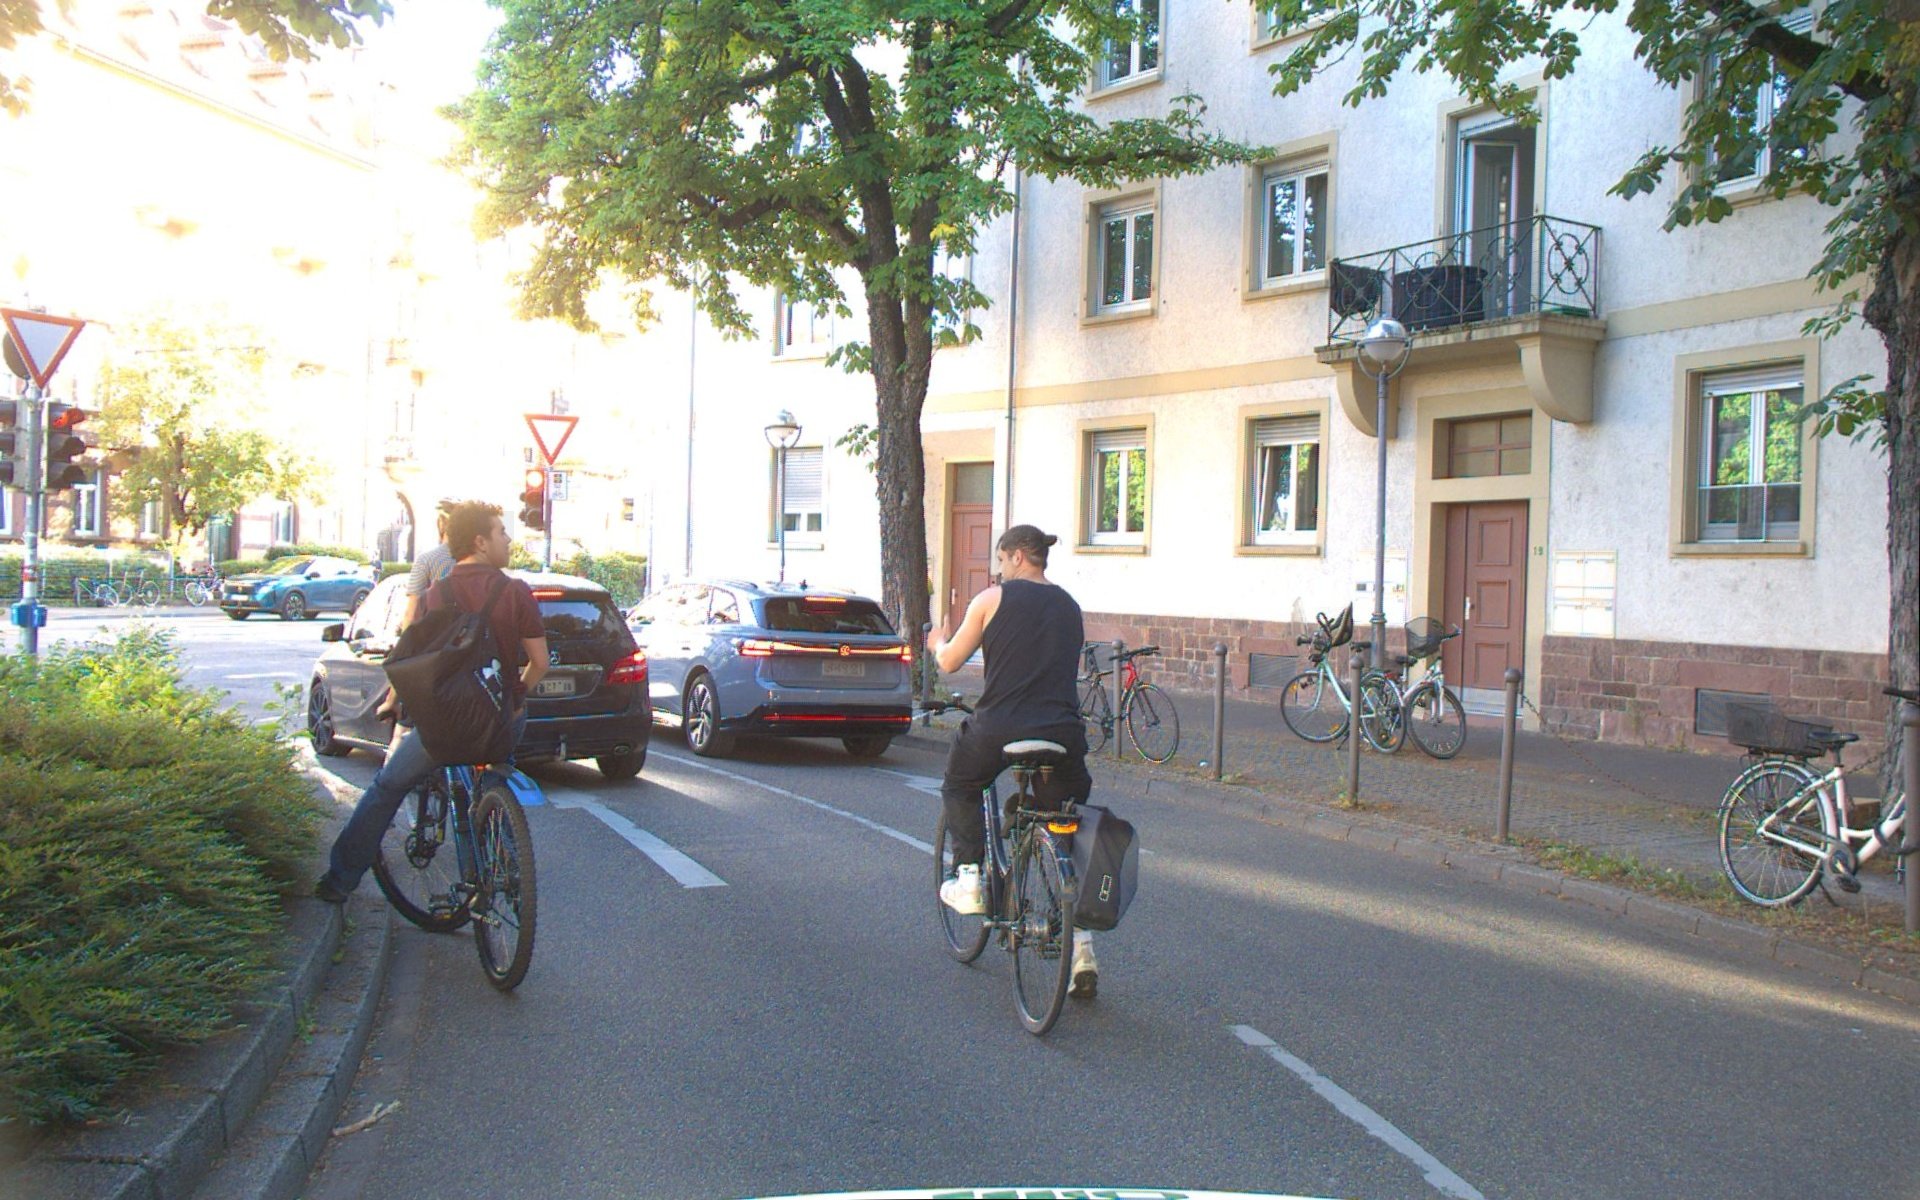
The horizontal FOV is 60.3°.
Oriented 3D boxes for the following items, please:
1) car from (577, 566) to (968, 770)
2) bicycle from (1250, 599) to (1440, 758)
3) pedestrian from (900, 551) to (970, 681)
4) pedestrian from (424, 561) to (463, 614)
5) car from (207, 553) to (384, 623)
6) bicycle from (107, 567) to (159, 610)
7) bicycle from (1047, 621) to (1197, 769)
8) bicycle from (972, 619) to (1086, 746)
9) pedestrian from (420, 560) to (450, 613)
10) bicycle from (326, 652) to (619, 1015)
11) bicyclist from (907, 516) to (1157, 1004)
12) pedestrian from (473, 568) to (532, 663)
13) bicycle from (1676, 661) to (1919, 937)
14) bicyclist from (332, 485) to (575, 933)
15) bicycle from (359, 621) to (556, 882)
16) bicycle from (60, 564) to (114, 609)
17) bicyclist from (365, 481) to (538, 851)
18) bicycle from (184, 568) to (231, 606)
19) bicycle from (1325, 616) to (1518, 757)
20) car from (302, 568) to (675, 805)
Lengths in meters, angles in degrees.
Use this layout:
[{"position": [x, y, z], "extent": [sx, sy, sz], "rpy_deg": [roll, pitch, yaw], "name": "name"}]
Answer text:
[{"position": [-1.946, 0.560, 15.748], "extent": [1.951, 1.613, 4.427], "rpy_deg": [4, -1, -32], "name": "car"}, {"position": [3.426, 0.656, 14.923], "extent": [0.707, 1.299, 1.955], "rpy_deg": [0, 1, -21], "name": "bicycle"}, {"position": [-0.356, 0.202, 22.908], "extent": [0.635, 1.757, 0.880], "rpy_deg": [-1, 2, -27], "name": "pedestrian"}, {"position": [-16.991, -0.404, 54.434], "extent": [0.698, 1.693, 0.895], "rpy_deg": [5, 2, 33], "name": "pedestrian"}, {"position": [-17.141, -0.309, 42.911], "extent": [1.901, 1.678, 4.413], "rpy_deg": [2, 0, 17], "name": "car"}, {"position": [-22.355, -0.310, 44.730], "extent": [0.433, 1.126, 1.233], "rpy_deg": [3, 1, 22], "name": "bicycle"}, {"position": [1.379, 0.792, 14.419], "extent": [0.519, 1.126, 1.728], "rpy_deg": [-1, 2, -24], "name": "bicycle"}, {"position": [0.644, 0.767, 15.996], "extent": [0.474, 1.082, 1.625], "rpy_deg": [-1, 2, -22], "name": "bicycle"}, {"position": [-17.555, -0.441, 55.277], "extent": [0.649, 1.745, 0.635], "rpy_deg": [2, 0, 29], "name": "pedestrian"}, {"position": [-2.013, 0.826, 6.629], "extent": [0.709, 1.126, 1.948], "rpy_deg": [2, 0, -29], "name": "bicycle"}, {"position": [0.243, 0.546, 6.274], "extent": [0.675, 1.685, 0.985], "rpy_deg": [0, 1, -15], "name": "bicyclist"}, {"position": [-8.435, 0.283, 30.480], "extent": [0.889, 1.663, 0.721], "rpy_deg": [3, 1, -21], "name": "pedestrian"}, {"position": [4.235, 0.891, 7.637], "extent": [0.505, 1.114, 1.962], "rpy_deg": [0, 1, -20], "name": "bicycle"}, {"position": [-2.004, 0.388, 6.488], "extent": [0.699, 1.601, 0.948], "rpy_deg": [2, 0, -29], "name": "bicyclist"}, {"position": [-2.863, 0.761, 9.256], "extent": [0.799, 1.205, 2.211], "rpy_deg": [2, 0, -23], "name": "bicycle"}, {"position": [-22.910, -0.351, 43.418], "extent": [0.433, 1.126, 1.233], "rpy_deg": [3, 1, 22], "name": "bicycle"}, {"position": [-2.874, 0.350, 9.300], "extent": [0.783, 1.946, 0.938], "rpy_deg": [2, 0, -23], "name": "bicyclist"}, {"position": [-21.451, -0.377, 47.177], "extent": [0.433, 1.056, 1.233], "rpy_deg": [3, 1, 21], "name": "bicycle"}, {"position": [4.123, 0.748, 14.950], "extent": [0.657, 1.126, 1.956], "rpy_deg": [2, 0, -19], "name": "bicycle"}, {"position": [-3.862, 0.538, 13.119], "extent": [1.774, 1.569, 3.814], "rpy_deg": [-1, 1, -34], "name": "car"}]
